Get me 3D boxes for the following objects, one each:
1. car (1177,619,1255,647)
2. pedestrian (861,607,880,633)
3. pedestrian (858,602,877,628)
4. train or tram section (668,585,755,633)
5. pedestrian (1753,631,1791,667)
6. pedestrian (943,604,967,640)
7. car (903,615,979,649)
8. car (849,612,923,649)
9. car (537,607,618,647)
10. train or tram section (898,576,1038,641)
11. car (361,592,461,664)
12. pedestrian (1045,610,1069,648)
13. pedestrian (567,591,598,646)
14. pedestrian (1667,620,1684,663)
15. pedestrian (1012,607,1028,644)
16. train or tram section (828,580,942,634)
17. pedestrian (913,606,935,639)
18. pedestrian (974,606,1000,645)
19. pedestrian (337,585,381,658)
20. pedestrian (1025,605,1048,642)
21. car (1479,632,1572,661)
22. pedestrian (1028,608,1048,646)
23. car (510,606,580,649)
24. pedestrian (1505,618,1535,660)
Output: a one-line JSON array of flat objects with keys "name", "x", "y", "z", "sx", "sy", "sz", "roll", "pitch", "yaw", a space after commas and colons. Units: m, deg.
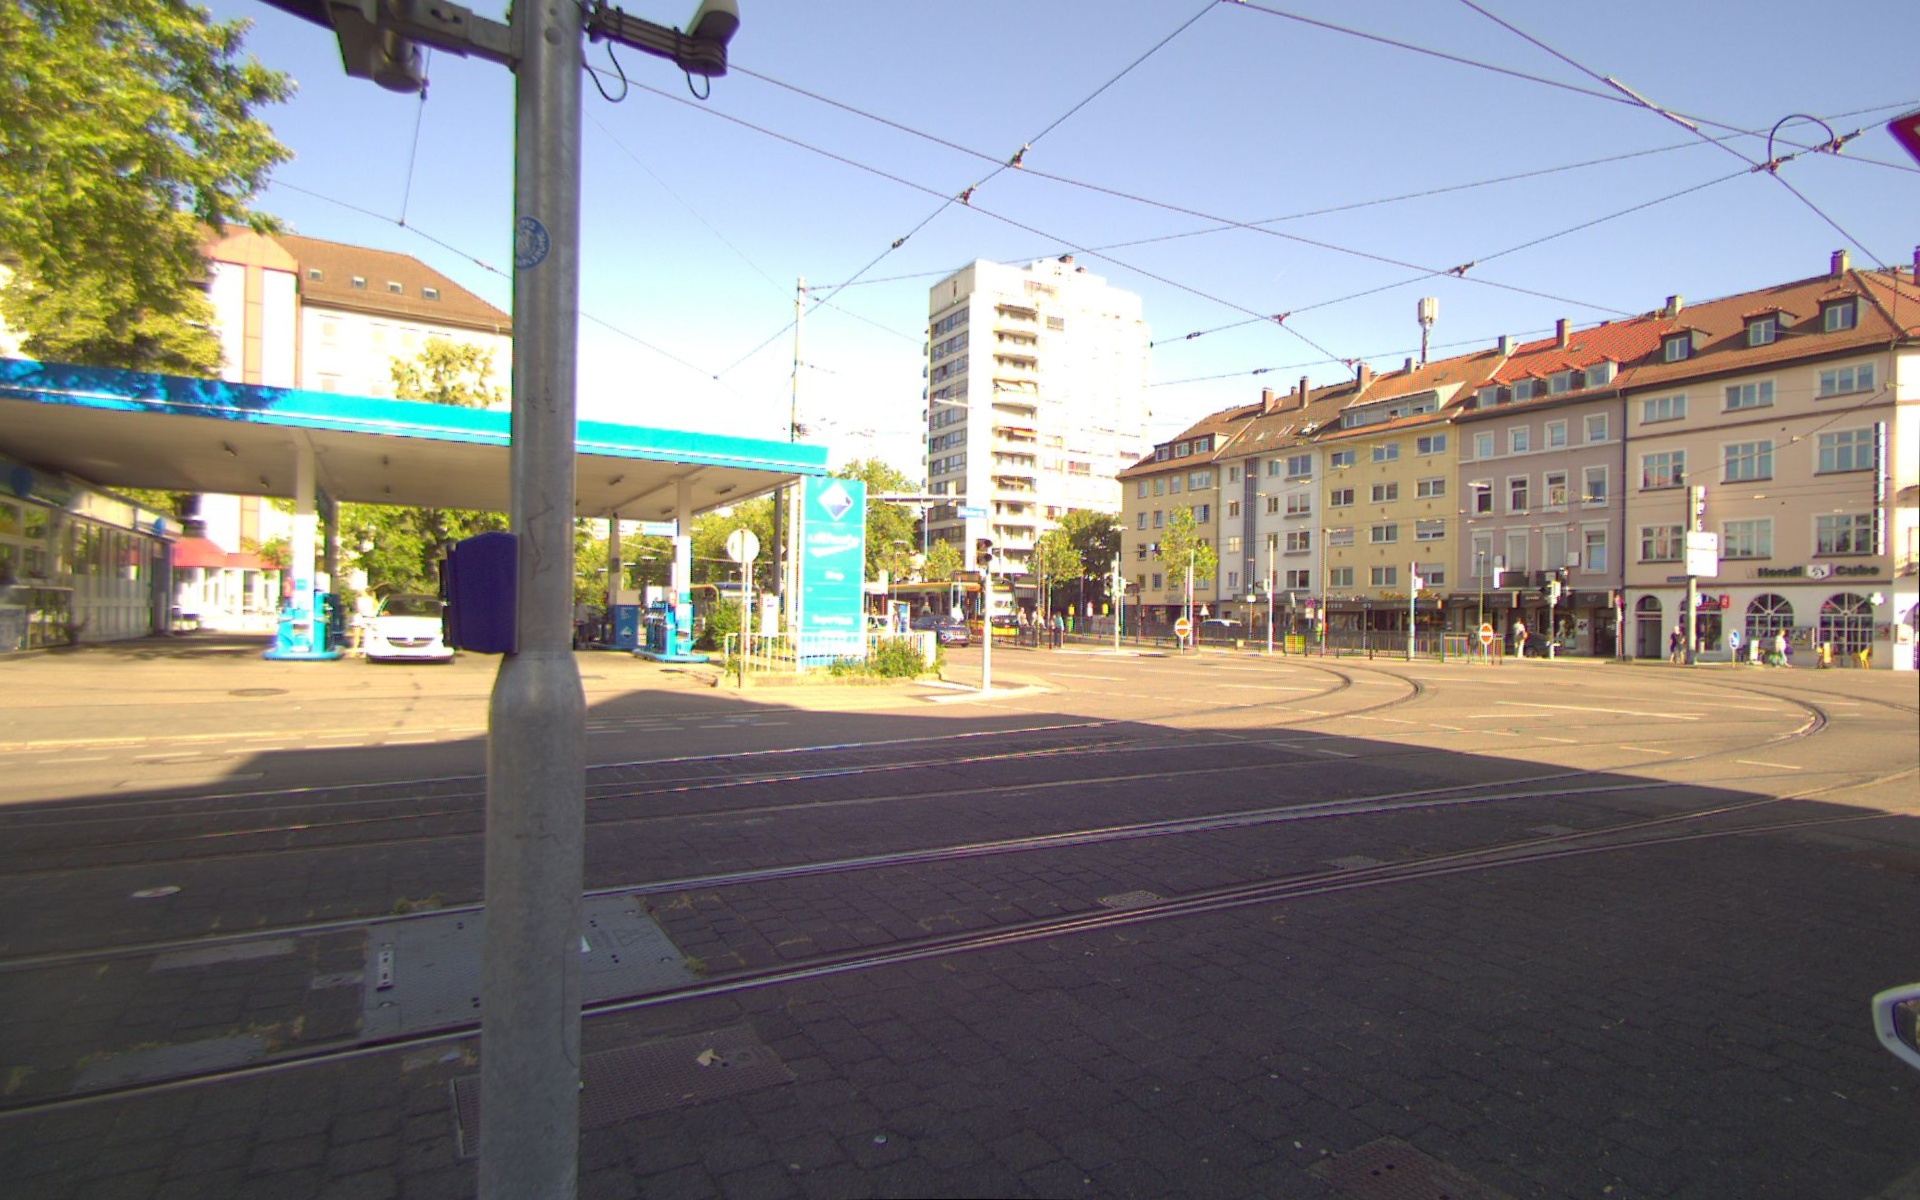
[{"name": "car", "x": 16.362, "y": 2.113, "z": 64.358, "sx": 1.979, "sy": 1.682, "sz": 4.820, "roll": 1, "pitch": -1, "yaw": -33}, {"name": "pedestrian", "x": -5.672, "y": 1.255, "z": 63.504, "sx": 0.902, "sy": 1.646, "sz": 0.887, "roll": 1, "pitch": -1, "yaw": -33}, {"name": "pedestrian", "x": -5.967, "y": 0.971, "z": 64.890, "sx": 0.902, "sy": 1.646, "sz": 0.887, "roll": 1, "pitch": -1, "yaw": -33}, {"name": "train or tram section", "x": -15.031, "y": 0.452, "z": 60.043, "sx": 2.233, "sy": 2.627, "sz": 10.398, "roll": 2, "pitch": 0, "yaw": -30}, {"name": "pedestrian", "x": 37.133, "y": 2.217, "z": 45.929, "sx": 1.029, "sy": 1.612, "sz": 1.061, "roll": 1, "pitch": -1, "yaw": -28}, {"name": "pedestrian", "x": -0.269, "y": 1.159, "z": 52.723, "sx": 0.902, "sy": 1.826, "sz": 0.887, "roll": 1, "pitch": -1, "yaw": -33}, {"name": "car", "x": -0.959, "y": 1.493, "z": 48.352, "sx": 1.937, "sy": 1.475, "sz": 4.077, "roll": 1, "pitch": 0, "yaw": -30}, {"name": "car", "x": -3.507, "y": 1.395, "z": 46.810, "sx": 1.976, "sy": 1.615, "sz": 3.970, "roll": 1, "pitch": -1, "yaw": -29}, {"name": "car", "x": -17.204, "y": 1.213, "z": 45.387, "sx": 1.960, "sy": 1.685, "sz": 4.001, "roll": 1, "pitch": -1, "yaw": 2}, {"name": "train or tram section", "x": 0.230, "y": 0.518, "z": 58.967, "sx": 3.252, "sy": 3.459, "sz": 10.157, "roll": 1, "pitch": -1, "yaw": -33}, {"name": "car", "x": -12.273, "y": 0.609, "z": 22.437, "sx": 1.773, "sy": 1.461, "sz": 3.968, "roll": 2, "pitch": -1, "yaw": -30}, {"name": "pedestrian", "x": 4.279, "y": 1.289, "z": 44.462, "sx": 0.791, "sy": 1.646, "sz": 0.706, "roll": 1, "pitch": -1, "yaw": -33}, {"name": "pedestrian", "x": -12.785, "y": 0.629, "z": 34.019, "sx": 0.897, "sy": 1.826, "sz": 0.892, "roll": 1, "pitch": -1, "yaw": -17}, {"name": "pedestrian", "x": 34.210, "y": 1.984, "z": 48.024, "sx": 0.498, "sy": 2.040, "sz": 0.507, "roll": 1, "pitch": -1, "yaw": -27}, {"name": "pedestrian", "x": 2.822, "y": 1.191, "z": 47.068, "sx": 0.491, "sy": 1.721, "sz": 0.553, "roll": 1, "pitch": -1, "yaw": -33}, {"name": "train or tram section", "x": -5.251, "y": 0.521, "z": 67.586, "sx": 3.252, "sy": 3.335, "sz": 10.157, "roll": 1, "pitch": -1, "yaw": -33}, {"name": "pedestrian", "x": -2.005, "y": 1.271, "z": 56.494, "sx": 0.902, "sy": 1.826, "sz": 0.887, "roll": 1, "pitch": -1, "yaw": -33}, {"name": "pedestrian", "x": 1.284, "y": 1.226, "z": 48.352, "sx": 0.902, "sy": 1.826, "sz": 0.887, "roll": 1, "pitch": -1, "yaw": -33}, {"name": "pedestrian", "x": -13.902, "y": 0.506, "z": 23.239, "sx": 0.802, "sy": 1.652, "sz": 0.642, "roll": 1, "pitch": -1, "yaw": -27}, {"name": "pedestrian", "x": 3.631, "y": 1.129, "z": 47.685, "sx": 0.773, "sy": 1.721, "sz": 0.692, "roll": 1, "pitch": -1, "yaw": -33}, {"name": "car", "x": 30.775, "y": 2.497, "z": 54.718, "sx": 1.980, "sy": 1.483, "sz": 3.962, "roll": 1, "pitch": -1, "yaw": -34}, {"name": "pedestrian", "x": 3.531, "y": 1.240, "z": 45.708, "sx": 0.549, "sy": 1.721, "sz": 0.740, "roll": 1, "pitch": -1, "yaw": -33}, {"name": "car", "x": -13.503, "y": 0.866, "z": 32.582, "sx": 1.752, "sy": 1.332, "sz": 3.520, "roll": 1, "pitch": -1, "yaw": -28}, {"name": "pedestrian", "x": 24.495, "y": 1.696, "z": 43.959, "sx": 0.801, "sy": 1.842, "sz": 0.871, "roll": 1, "pitch": -1, "yaw": -29}]
